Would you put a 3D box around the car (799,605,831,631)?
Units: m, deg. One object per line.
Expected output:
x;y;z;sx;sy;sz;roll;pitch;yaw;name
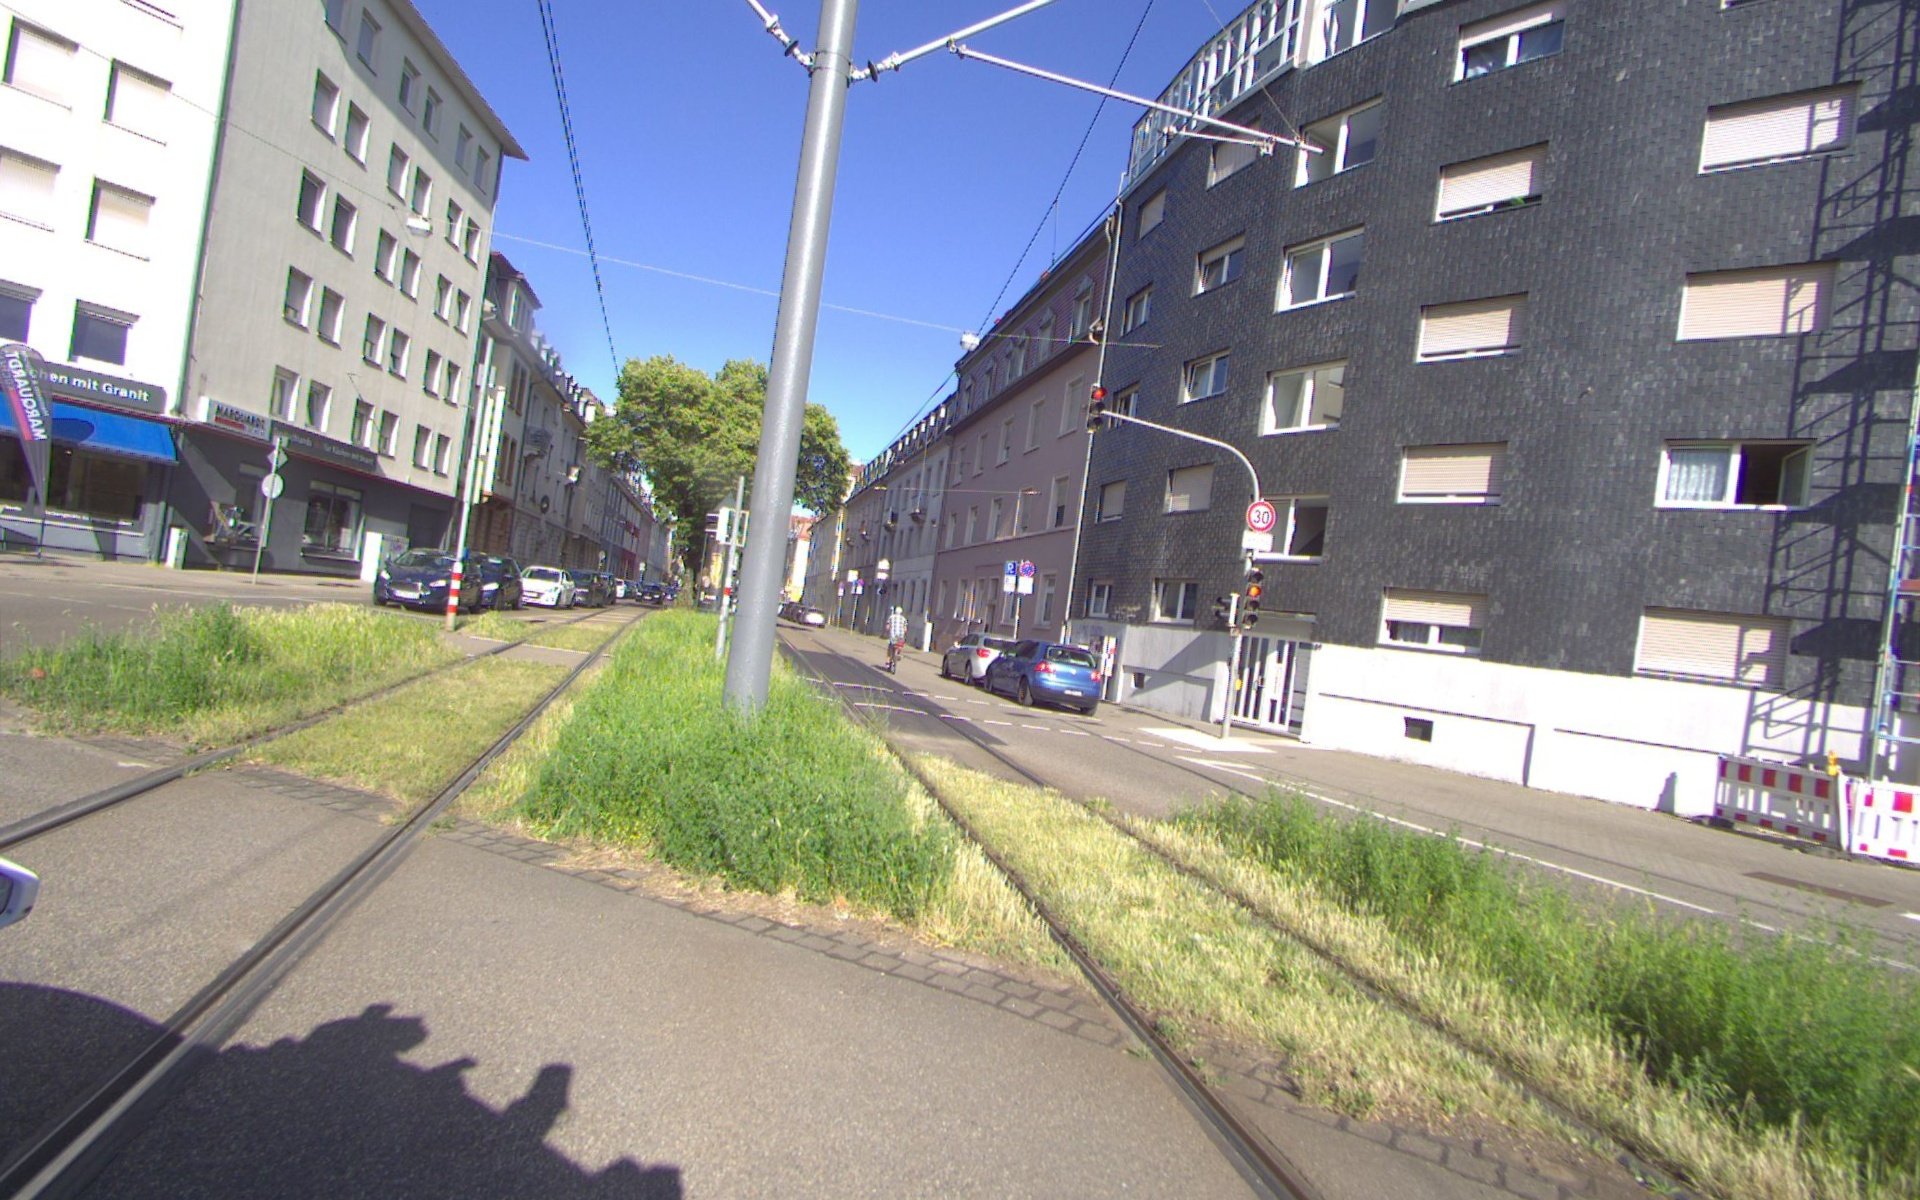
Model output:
-11.257;1.408;77.968;1.969;1.635;3.993;9;-3;-13;car

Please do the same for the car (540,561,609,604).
-16.589;-0.725;43.530;1.968;1.490;3.992;8;-1;-11;car

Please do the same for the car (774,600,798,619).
-17.793;0.958;102.873;1.912;1.485;3.988;9;-1;-14;car

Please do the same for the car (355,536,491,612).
-12.649;-0.571;23.964;1.768;1.412;3.717;8;-1;-13;car

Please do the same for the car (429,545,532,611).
-14.018;-0.609;29.651;1.768;1.584;3.758;8;-1;-13;car

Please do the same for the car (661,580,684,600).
-29.274;-1.023;102.488;1.969;1.770;3.990;8;-1;-14;car

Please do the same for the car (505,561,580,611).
-15.231;-0.497;36.840;1.768;1.500;3.524;8;-1;-13;car

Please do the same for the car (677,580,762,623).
-12.471;0.086;52.134;3.931;1.612;1.909;8;-1;29;car

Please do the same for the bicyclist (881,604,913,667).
-1.686;0.929;26.830;0.553;1.577;0.822;8;0;-10;bicyclist

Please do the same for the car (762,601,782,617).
-22.490;1.051;120.055;1.912;1.485;3.988;9;-1;-14;car

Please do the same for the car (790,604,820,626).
-12.983;1.237;84.165;1.912;1.485;3.988;9;-1;-14;car

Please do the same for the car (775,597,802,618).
-15.142;0.656;88.587;1.912;1.485;3.989;9;-1;-14;car

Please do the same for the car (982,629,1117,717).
1.935;1.609;22.976;1.754;1.459;3.607;9;-1;-15;car

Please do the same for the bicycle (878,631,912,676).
-1.746;1.405;26.833;0.579;1.044;1.854;8;-1;-10;bicycle

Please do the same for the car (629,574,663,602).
-23.265;-0.873;74.730;1.969;1.770;3.990;8;-1;-14;car

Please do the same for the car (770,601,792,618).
-19.426;1.007;108.869;1.912;1.485;3.988;9;-1;-14;car

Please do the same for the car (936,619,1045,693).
0.749;1.488;27.757;1.797;1.526;3.988;8;-1;-14;car

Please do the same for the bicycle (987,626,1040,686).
1.537;1.625;29.749;0.566;1.528;2.800;8;-1;-14;bicycle

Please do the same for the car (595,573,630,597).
-25.988;-1.106;75.371;1.969;1.411;3.990;8;-1;-14;car
